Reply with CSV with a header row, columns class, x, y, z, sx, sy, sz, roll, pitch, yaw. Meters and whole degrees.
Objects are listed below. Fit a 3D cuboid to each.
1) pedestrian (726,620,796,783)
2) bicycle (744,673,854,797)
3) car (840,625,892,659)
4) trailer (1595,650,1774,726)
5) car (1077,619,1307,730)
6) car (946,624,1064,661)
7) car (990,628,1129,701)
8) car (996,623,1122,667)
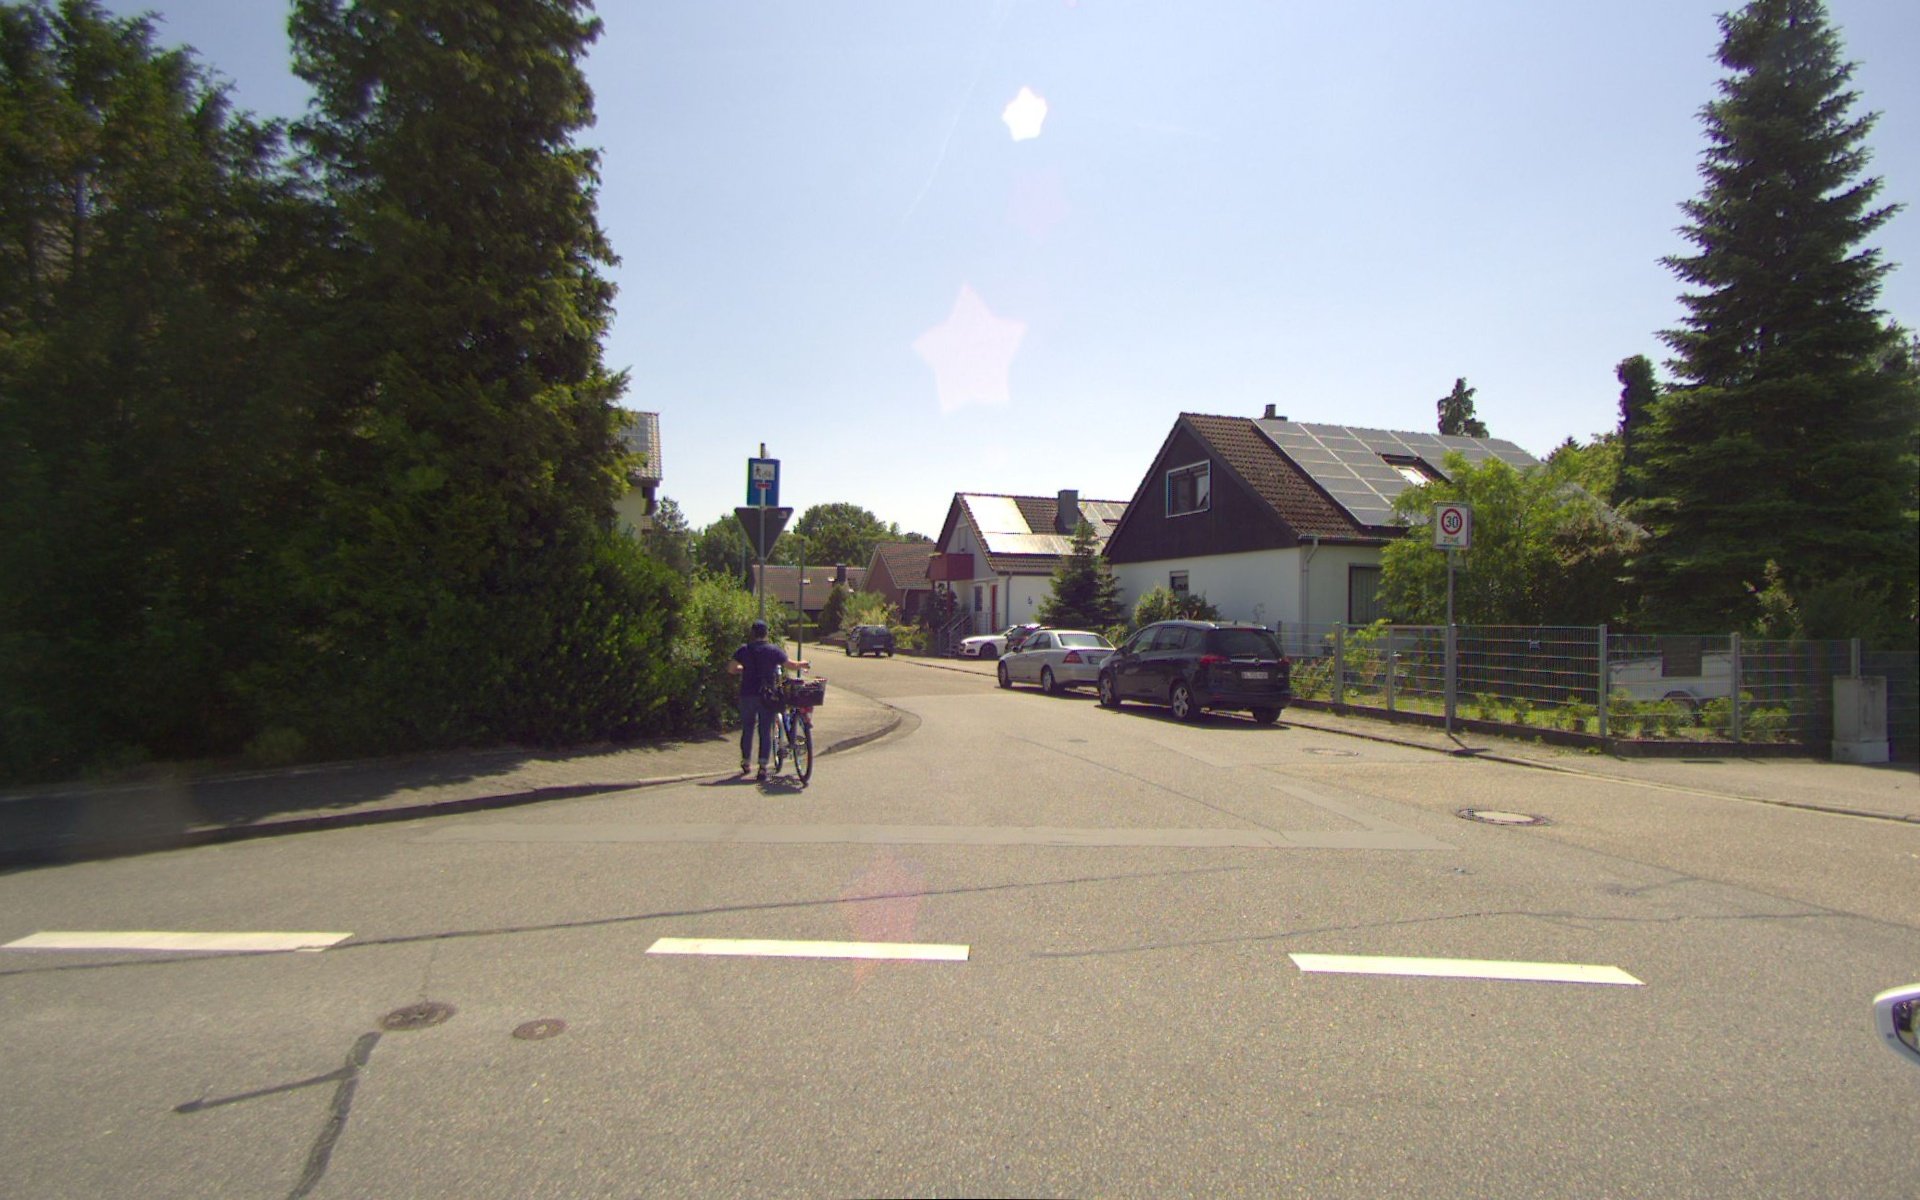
class,x,y,z,sx,sy,sz,roll,pitch,yaw
pedestrian,-1.946,0.963,9.799,0.498,1.520,0.607,1,-1,-28
bicycle,-1.594,1.245,9.698,0.438,0.976,1.834,1,-1,-29
car,-4.356,1.921,46.083,1.629,1.459,3.638,1,-1,-18
trailer,12.123,1.432,16.907,1.092,1.098,2.208,1,-1,-26
car,3.954,1.212,18.082,1.938,1.684,4.664,1,-1,-18
car,1.831,1.746,41.324,4.478,1.415,1.945,1,-1,-17
car,2.183,1.421,23.351,1.665,1.479,4.320,1,-1,-17
car,3.642,1.655,37.138,4.188,1.506,1.992,1,-1,-19
